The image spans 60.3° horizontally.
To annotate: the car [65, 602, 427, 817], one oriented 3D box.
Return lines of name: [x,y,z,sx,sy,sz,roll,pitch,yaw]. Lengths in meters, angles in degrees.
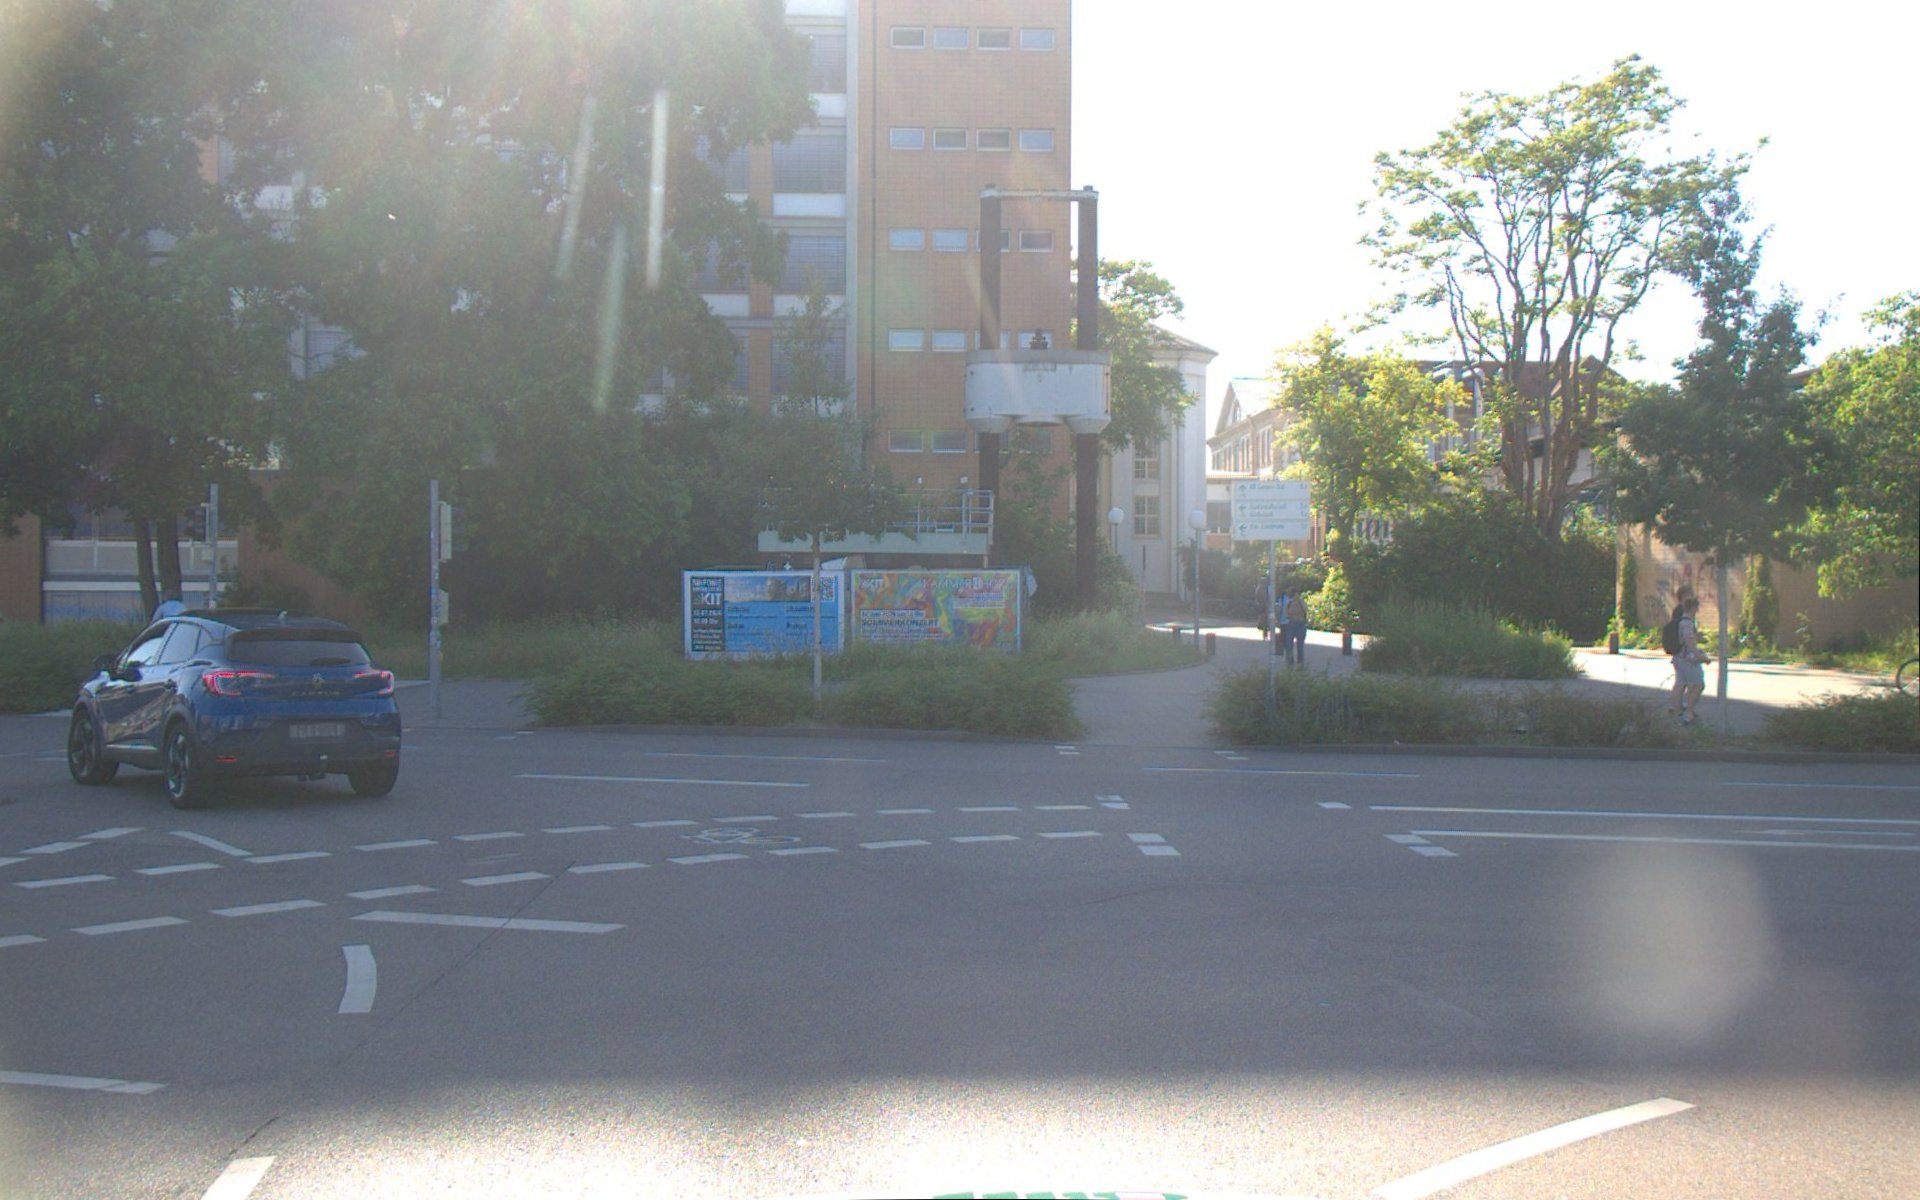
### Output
car: [-6.460,0.851,14.780,1.868,1.646,3.738,0,0,-43]

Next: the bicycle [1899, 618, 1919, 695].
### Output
bicycle: [16.060,0.893,26.234,1.909,1.185,0.644,0,3,11]

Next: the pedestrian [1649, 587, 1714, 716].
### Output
pedestrian: [10.469,0.736,24.028,0.718,1.813,0.732,2,0,17]

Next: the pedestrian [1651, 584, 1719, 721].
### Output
pedestrian: [10.096,0.717,23.055,0.718,1.848,0.732,2,0,17]

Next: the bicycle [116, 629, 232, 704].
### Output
bicycle: [-13.266,1.113,27.930,1.826,1.185,0.718,1,0,21]

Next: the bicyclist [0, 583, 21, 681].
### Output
bicyclist: [-18.048,0.591,30.742,0.959,1.793,0.718,1,0,38]

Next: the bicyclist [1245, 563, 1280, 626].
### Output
bicyclist: [8.657,-0.168,47.306,0.706,1.765,0.976,0,0,29]

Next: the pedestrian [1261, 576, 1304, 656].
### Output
pedestrian: [6.947,0.346,35.623,0.662,1.672,0.735,2,0,26]

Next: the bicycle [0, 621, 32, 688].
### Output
bicycle: [-18.012,0.999,30.713,1.835,1.185,0.745,1,1,39]

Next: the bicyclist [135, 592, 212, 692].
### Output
bicyclist: [-13.275,0.692,27.922,0.954,1.645,0.722,0,0,21]

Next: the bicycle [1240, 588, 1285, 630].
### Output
bicycle: [8.660,0.247,47.319,0.731,1.185,1.867,1,1,28]

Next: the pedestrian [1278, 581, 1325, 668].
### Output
pedestrian: [6.774,0.479,32.794,0.663,1.672,0.734,2,0,29]
